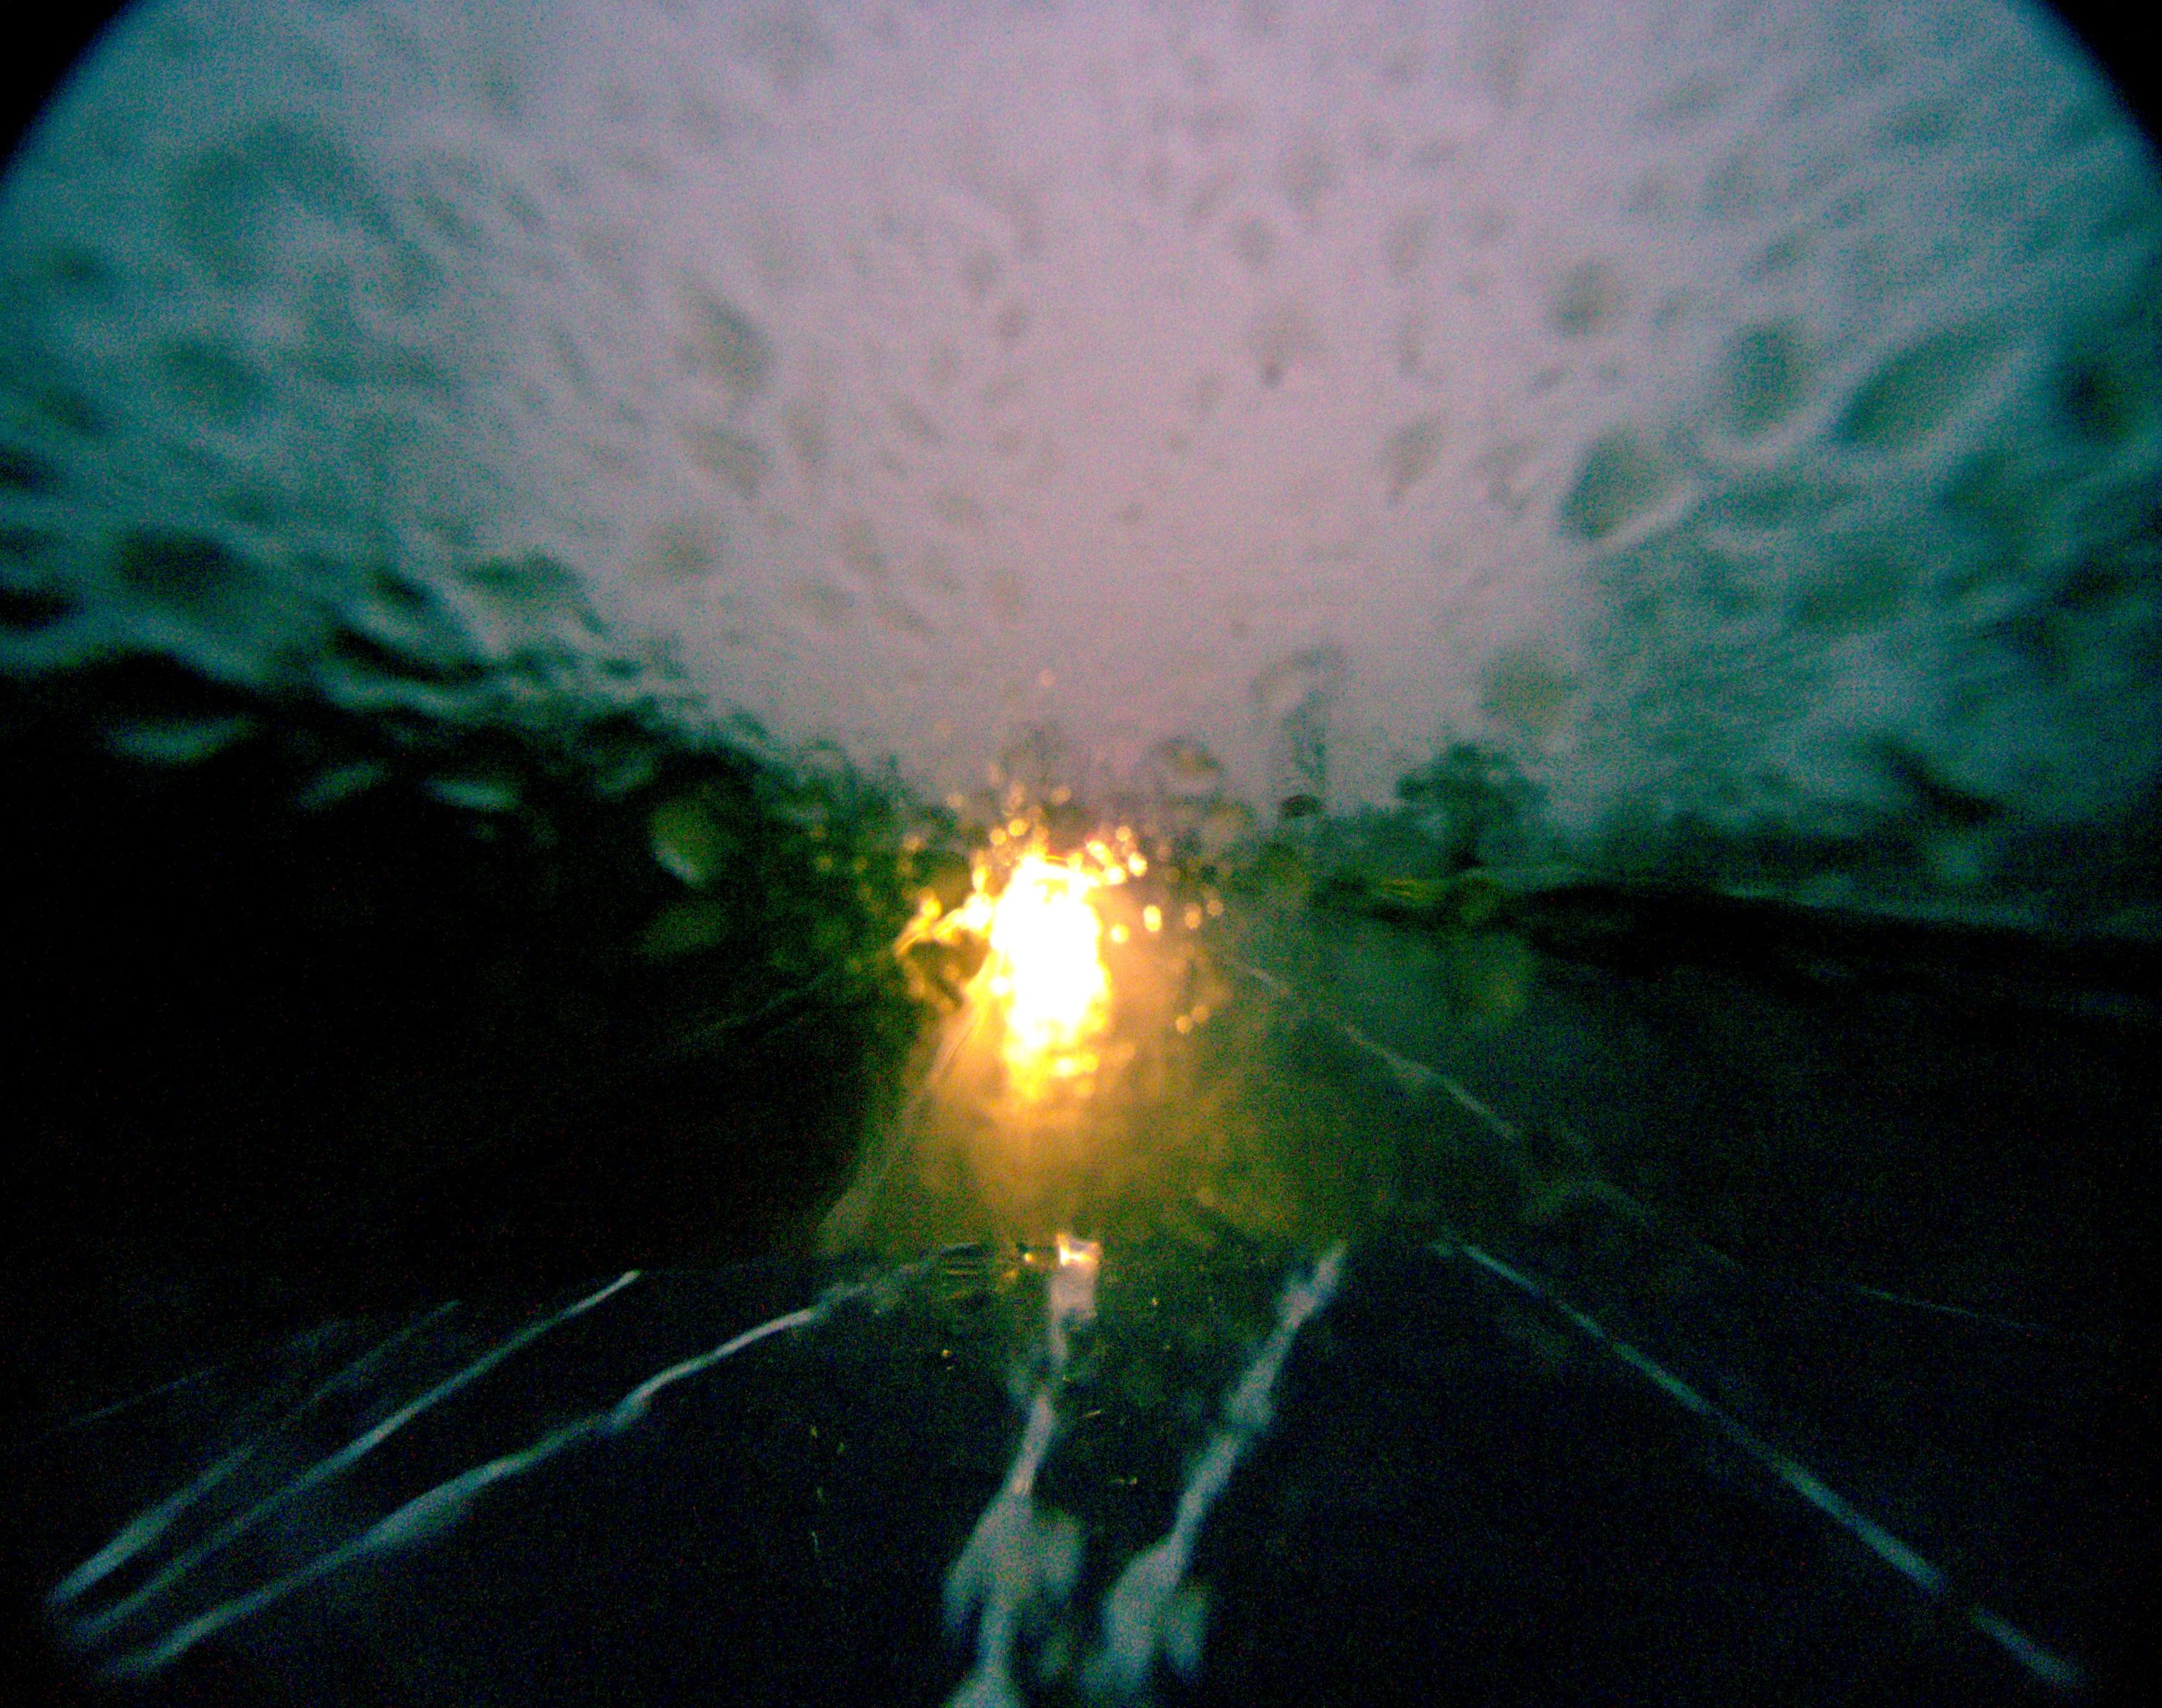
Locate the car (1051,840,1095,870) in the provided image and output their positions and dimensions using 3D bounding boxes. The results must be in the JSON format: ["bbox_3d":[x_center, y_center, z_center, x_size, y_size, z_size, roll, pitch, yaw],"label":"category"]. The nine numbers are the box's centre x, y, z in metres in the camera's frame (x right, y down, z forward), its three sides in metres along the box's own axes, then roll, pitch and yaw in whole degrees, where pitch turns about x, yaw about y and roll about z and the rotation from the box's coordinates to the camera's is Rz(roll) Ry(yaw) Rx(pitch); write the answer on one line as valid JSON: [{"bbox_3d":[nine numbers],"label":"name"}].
[{"bbox_3d":[-0.564,0.011,47.494,2.000,1.612,4.592,-4,2,-9],"label":"car"}]

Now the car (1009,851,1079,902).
[{"bbox_3d":[-1.413,0.714,27.005,2.103,1.566,4.795,0,1,-7],"label":"car"}]
